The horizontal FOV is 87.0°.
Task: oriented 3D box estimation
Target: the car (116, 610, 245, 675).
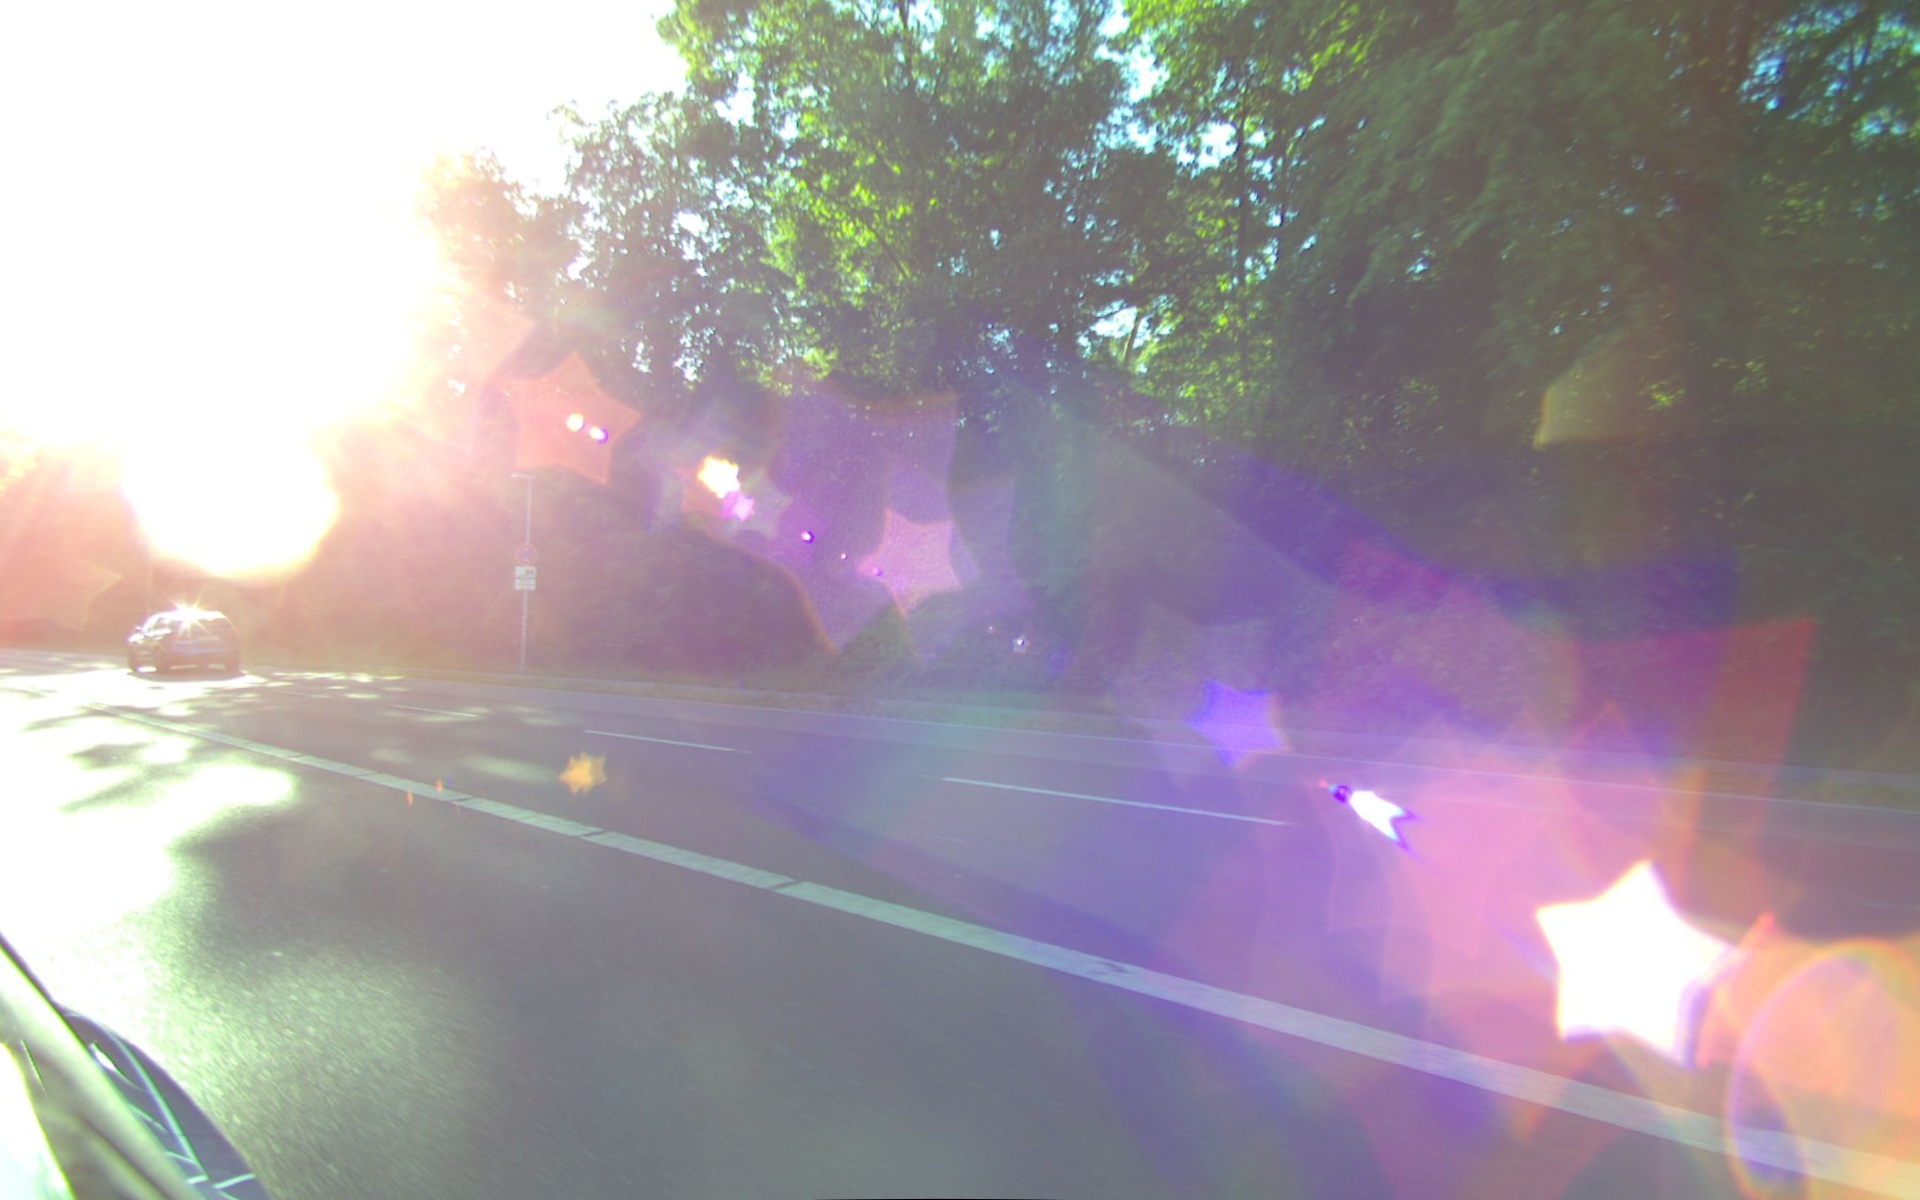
[{"bbox_3d":[-21.751,1.132,28.191,4.515,1.676,1.790,-1,-1,38],"label":"car"}]
